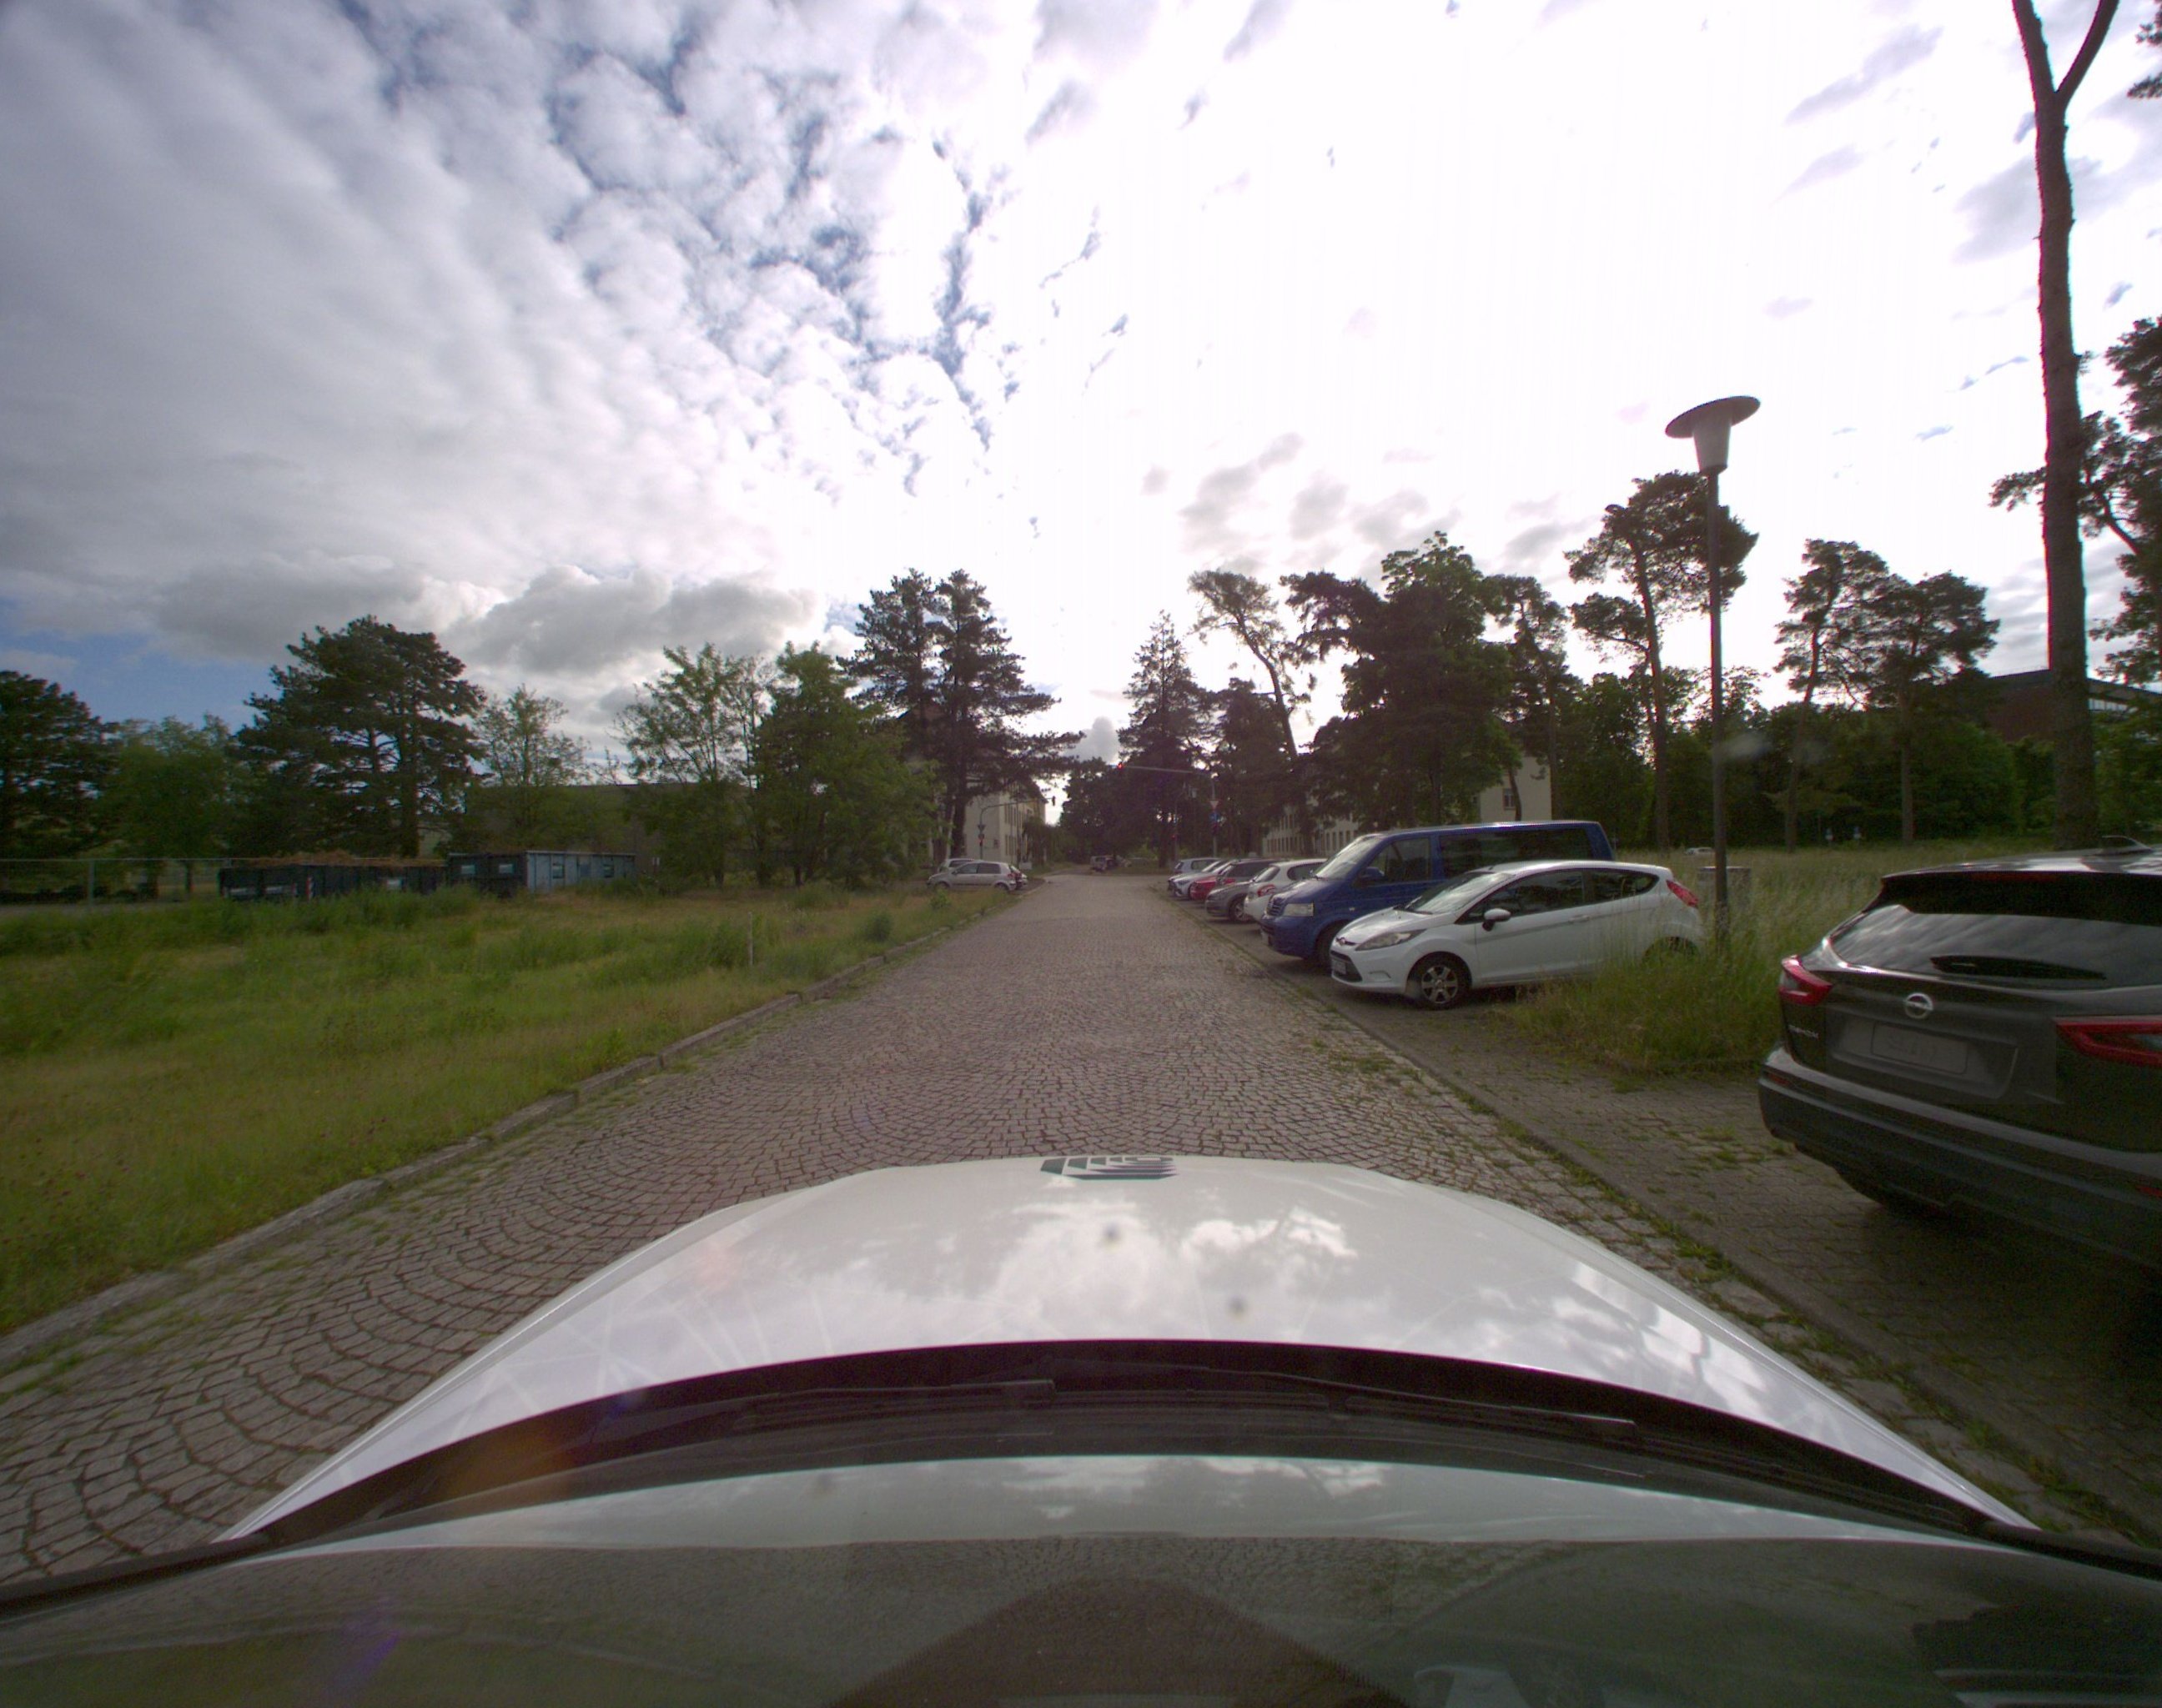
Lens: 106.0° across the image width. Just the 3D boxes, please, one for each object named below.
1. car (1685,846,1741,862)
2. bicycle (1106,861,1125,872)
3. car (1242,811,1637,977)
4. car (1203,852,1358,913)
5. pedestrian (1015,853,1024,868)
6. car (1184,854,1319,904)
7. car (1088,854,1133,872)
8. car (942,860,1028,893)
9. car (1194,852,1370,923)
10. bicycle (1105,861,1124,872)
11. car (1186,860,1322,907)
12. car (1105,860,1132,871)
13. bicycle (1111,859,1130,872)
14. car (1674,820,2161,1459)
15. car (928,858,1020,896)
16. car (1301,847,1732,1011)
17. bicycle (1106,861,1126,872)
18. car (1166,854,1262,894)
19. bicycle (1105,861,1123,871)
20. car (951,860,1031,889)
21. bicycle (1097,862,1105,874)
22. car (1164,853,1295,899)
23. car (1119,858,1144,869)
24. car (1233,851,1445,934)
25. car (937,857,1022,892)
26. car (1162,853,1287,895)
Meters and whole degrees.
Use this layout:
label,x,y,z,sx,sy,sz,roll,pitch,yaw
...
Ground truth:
label,x,y,z,sx,sy,sz,roll,pitch,yaw
car,59.742,0.039,77.012,3.930,1.421,1.652,1,-1,4
bicycle,3.605,1.303,84.902,1.952,1.117,0.587,-1,-1,-6
car,4.962,0.532,11.810,4.792,1.946,2.003,-3,0,0
car,5.519,0.773,22.859,3.850,1.472,1.758,-3,0,0
pedestrian,-7.587,0.825,100.184,0.779,1.837,0.734,-1,-1,-30
car,5.777,0.837,27.968,4.247,1.416,1.871,-3,0,1
car,3.744,1.138,102.360,5.357,1.925,2.019,-2,0,-8
car,-4.363,1.015,37.318,3.736,1.429,1.581,1,-1,-2
car,4.844,0.801,20.025,3.850,1.472,1.758,-3,0,0
bicycle,3.540,1.339,86.382,1.966,1.069,0.582,-1,-1,-29
car,5.309,0.890,25.334,3.850,1.236,1.758,-3,0,0
car,4.546,1.373,98.980,3.000,1.268,1.533,-1,0,-5
bicycle,4.164,1.218,85.726,1.952,1.384,0.587,-1,-1,-6
car,4.832,0.644,2.787,4.246,1.598,1.822,-3,0,0
car,-4.528,0.962,34.723,3.693,1.479,1.581,1,-1,-2
car,4.688,0.766,9.218,3.850,1.472,1.841,-3,0,0
bicycle,3.651,1.274,84.268,1.952,1.132,0.587,-1,-1,-6
car,5.742,0.859,35.378,3.911,1.477,1.643,-3,0,2
bicycle,3.740,1.362,91.421,1.964,1.069,0.583,-1,-1,-24
car,-4.695,1.055,42.647,3.934,1.421,1.650,1,-1,0
bicycle,1.967,1.383,81.094,0.602,1.132,1.958,-1,0,-4
car,5.465,0.807,30.242,4.419,1.416,1.866,-3,0,-8
car,6.571,1.226,106.199,3.223,1.416,1.724,-1,0,-2
car,5.325,0.774,17.153,3.850,1.472,1.758,-3,0,0
car,-4.960,1.001,40.108,3.937,1.563,1.649,1,-1,-2
car,5.750,0.797,32.926,4.667,1.416,1.870,-3,0,-1
